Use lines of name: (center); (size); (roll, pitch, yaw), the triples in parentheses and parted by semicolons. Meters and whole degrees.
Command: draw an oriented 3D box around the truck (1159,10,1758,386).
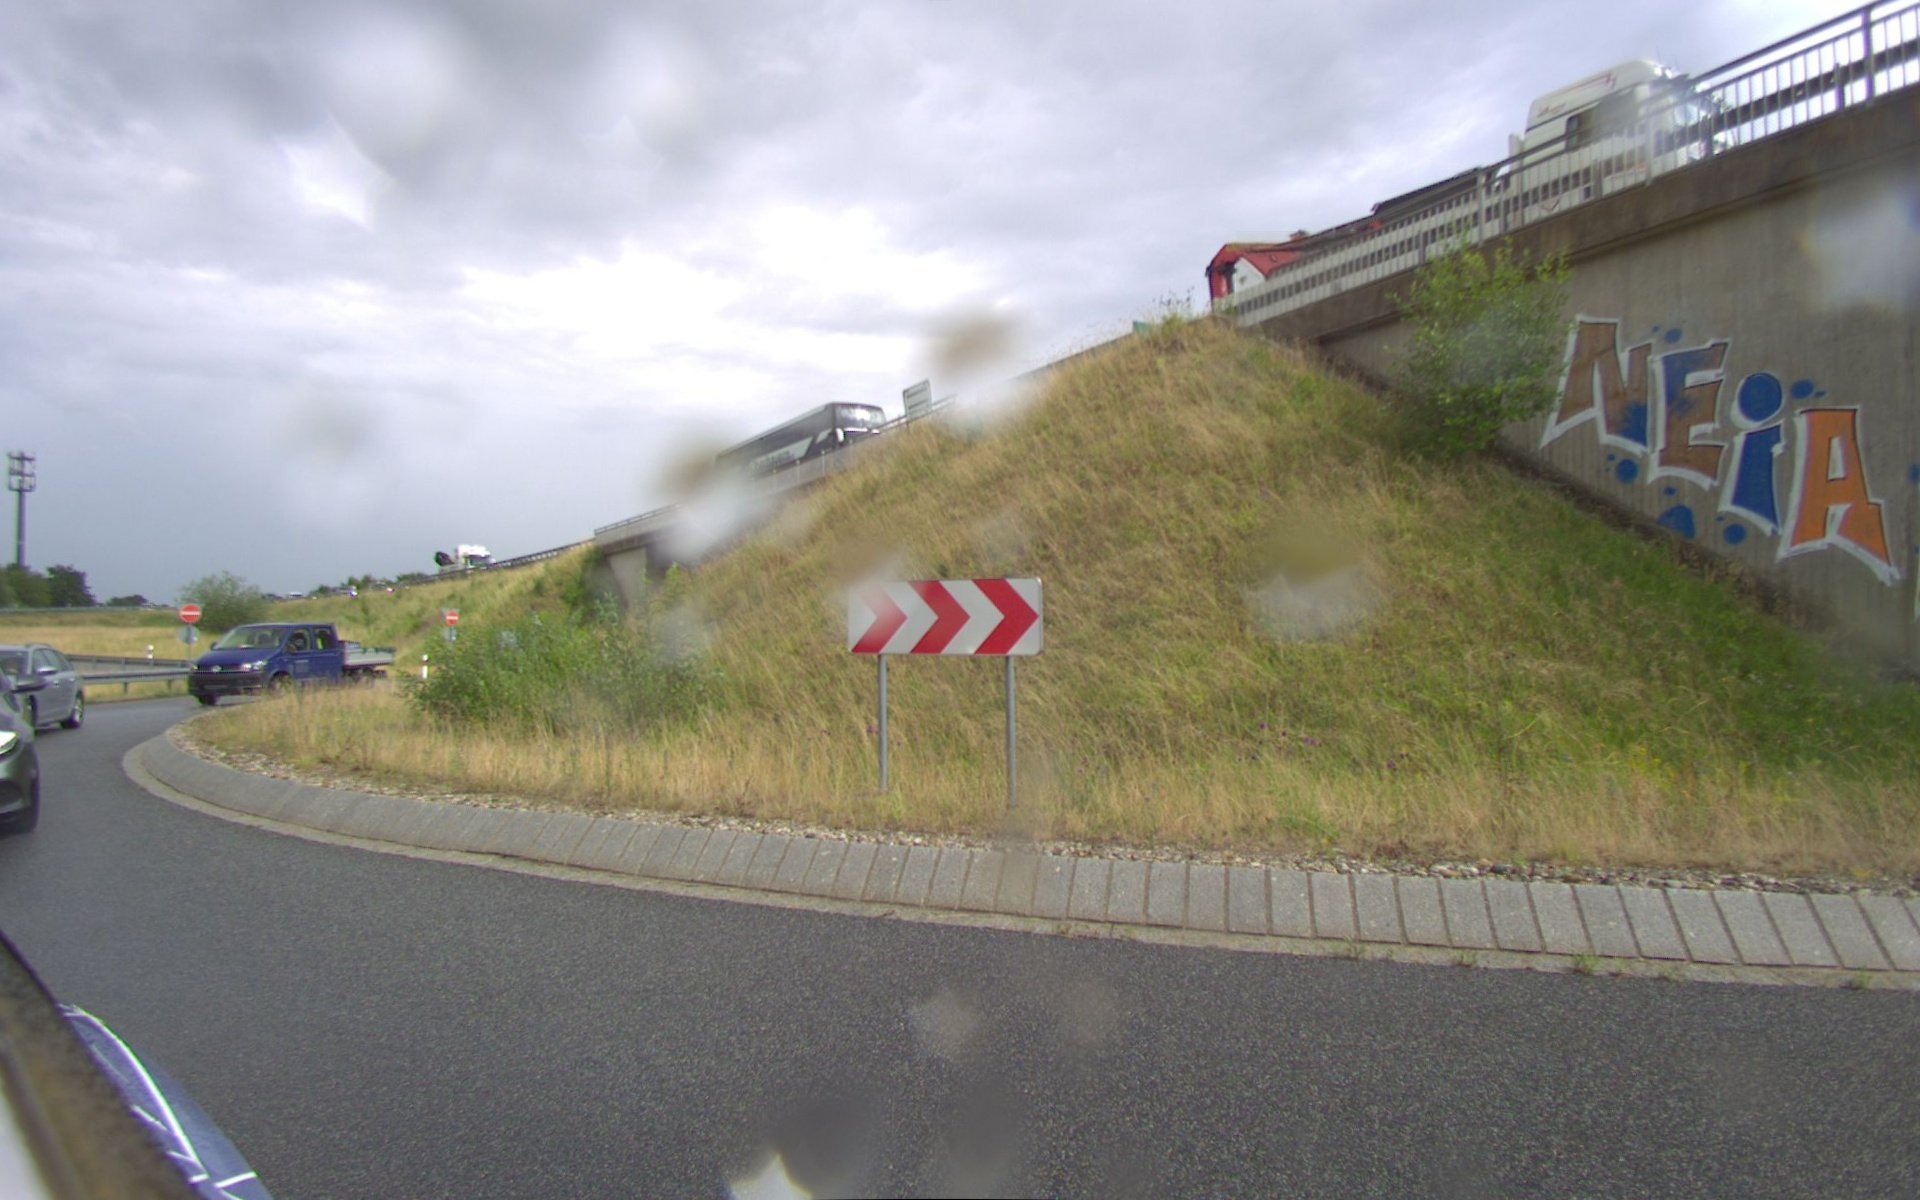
truck: (8.391, -6.785, 19.505); (2.169, 2.895, 10.857); (-1, -1, -31)

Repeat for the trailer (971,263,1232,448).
trailer: (3.475, -6.301, 27.598); (2.150, 2.893, 8.355); (-1, -1, -32)

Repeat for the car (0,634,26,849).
car: (-8.480, 1.038, 7.641); (4.591, 1.402, 1.746); (-4, -4, 43)

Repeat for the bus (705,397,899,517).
bus: (-7.523, -5.964, 44.975); (2.569, 3.103, 14.501); (-1, -1, -34)

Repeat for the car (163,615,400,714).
car: (-16.878, 1.496, 25.662); (1.869, 1.929, 5.676); (-3, 1, 4)

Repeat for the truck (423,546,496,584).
truck: (-49.489, -3.389, 99.882); (9.274, 3.218, 3.118); (-2, -1, 41)

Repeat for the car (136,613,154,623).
car: (-143.469, 3.173, 178.149); (1.737, 1.656, 3.907); (-1, -1, -27)

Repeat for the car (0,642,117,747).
car: (-15.145, 1.415, 16.093); (1.767, 1.409, 4.363); (1, -1, -28)

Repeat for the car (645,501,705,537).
car: (-16.810, -4.729, 59.574); (1.688, 1.536, 4.503); (-12, 6, -37)

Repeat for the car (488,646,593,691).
car: (-15.082, 2.440, 36.610); (1.557, 1.548, 3.912); (-1, -3, 13)
